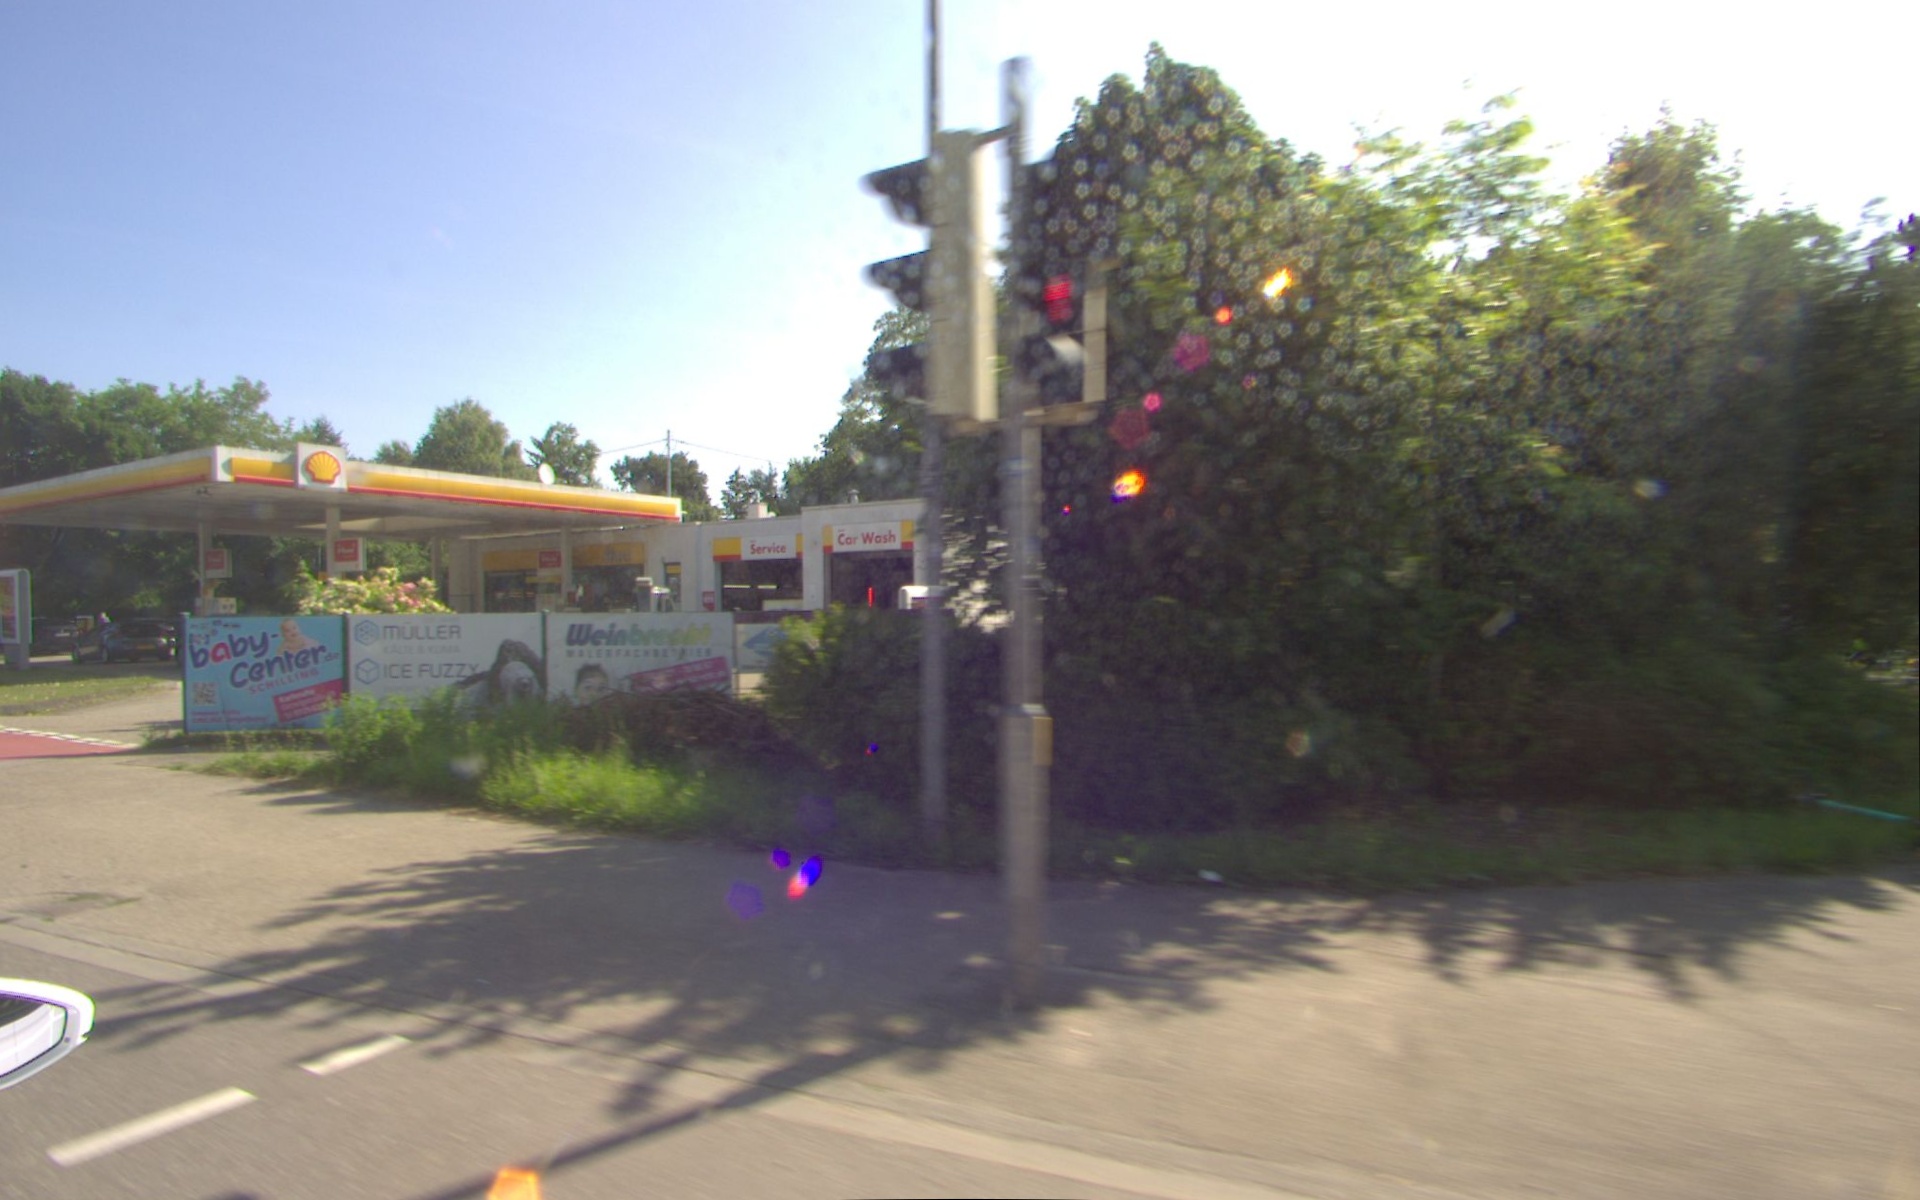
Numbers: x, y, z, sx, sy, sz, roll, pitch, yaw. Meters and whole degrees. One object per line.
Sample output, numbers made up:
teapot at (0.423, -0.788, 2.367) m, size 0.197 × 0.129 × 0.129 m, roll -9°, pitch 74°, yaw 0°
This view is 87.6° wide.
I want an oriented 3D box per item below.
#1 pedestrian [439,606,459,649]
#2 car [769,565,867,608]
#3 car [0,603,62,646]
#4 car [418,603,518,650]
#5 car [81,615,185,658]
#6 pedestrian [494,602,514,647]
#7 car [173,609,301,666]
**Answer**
pedestrian at (-19.063, 1.016, 37.332) m, size 0.469 × 1.614 × 0.497 m, roll 0°, pitch 1°, yaw 35°
car at (-5.565, -0.485, 39.635) m, size 1.629 × 1.505 × 3.979 m, roll -1°, pitch -2°, yaw 33°
car at (-41.320, 1.079, 43.713) m, size 3.939 × 1.788 × 1.992 m, roll -1°, pitch -2°, yaw 29°
car at (-19.041, 1.017, 38.695) m, size 3.947 × 1.750 × 1.822 m, roll -1°, pitch 0°, yaw 36°
car at (-28.452, 1.203, 34.429) m, size 3.796 × 1.378 × 1.793 m, roll -1°, pitch 0°, yaw 35°
pedestrian at (-17.137, 0.911, 37.627) m, size 0.494 × 1.690 × 0.473 m, roll 0°, pitch 1°, yaw 33°
car at (-21.916, 1.100, 30.334) m, size 3.820 × 1.599 × 1.757 m, roll -1°, pitch 0°, yaw 30°
